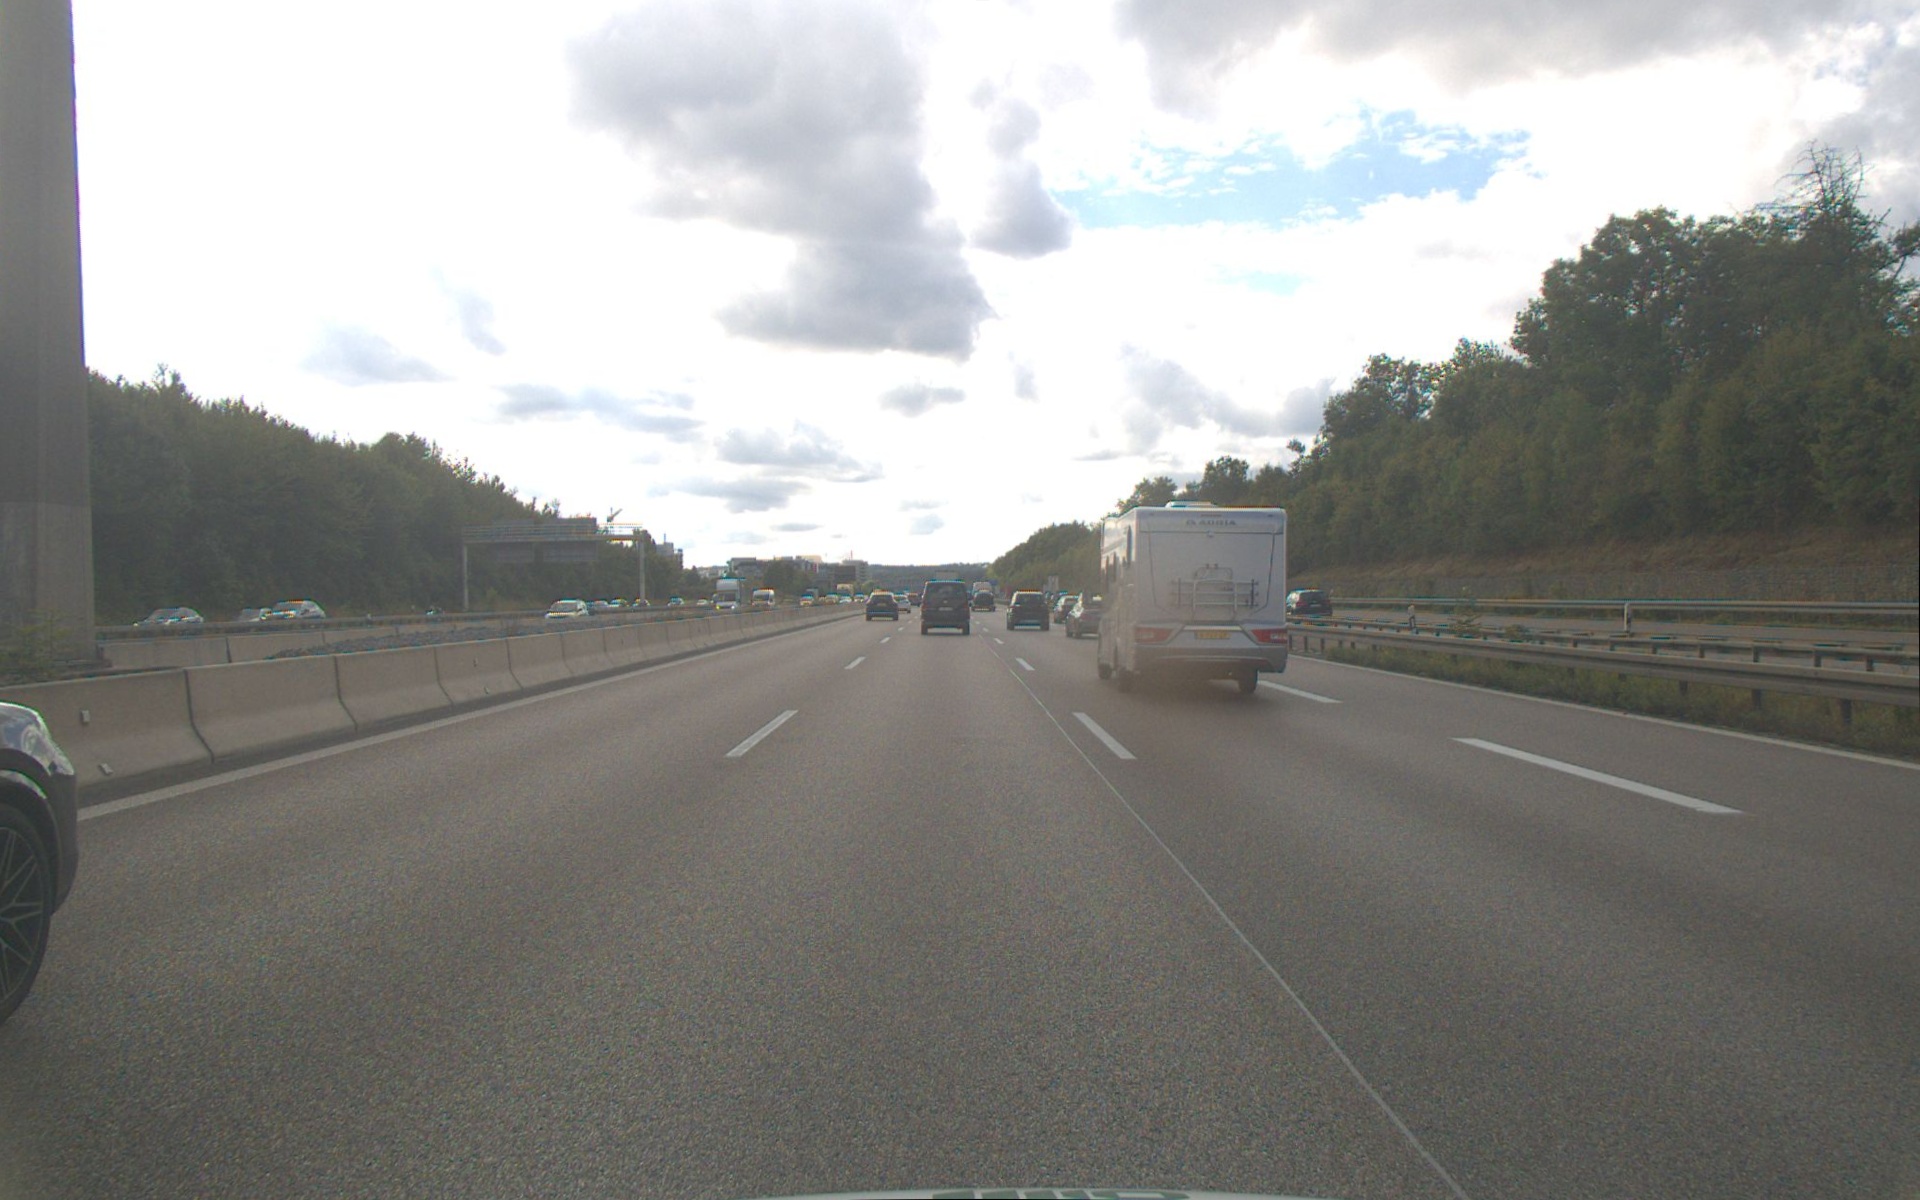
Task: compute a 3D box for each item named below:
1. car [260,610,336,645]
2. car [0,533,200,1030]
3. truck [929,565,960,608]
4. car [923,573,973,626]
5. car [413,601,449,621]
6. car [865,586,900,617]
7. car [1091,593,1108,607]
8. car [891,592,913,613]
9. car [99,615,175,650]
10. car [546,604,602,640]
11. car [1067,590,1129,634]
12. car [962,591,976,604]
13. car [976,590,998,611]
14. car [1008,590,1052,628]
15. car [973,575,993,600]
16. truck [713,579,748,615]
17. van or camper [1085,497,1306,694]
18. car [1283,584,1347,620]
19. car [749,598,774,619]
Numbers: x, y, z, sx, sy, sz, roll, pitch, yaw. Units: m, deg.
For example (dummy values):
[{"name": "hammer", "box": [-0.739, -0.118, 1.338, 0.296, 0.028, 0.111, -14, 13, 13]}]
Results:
[{"name": "car", "box": [-33.976, 1.394, 85.003, 1.953, 1.620, 4.767, -1, 0, 0]}, {"name": "car", "box": [-4.141, 0.618, 4.278, 1.873, 1.664, 5.499, 0, 0, -1]}, {"name": "truck", "box": [-1.680, -1.394, 177.946, 3.196, 4.451, 11.024, 0, 0, -1]}, {"name": "car", "box": [-0.462, -0.020, 62.921, 1.817, 1.944, 4.259, 0, 0, -1]}, {"name": "car", "box": [-41.970, 0.863, 131.213, 1.559, 1.520, 4.179, -1, 0, -2]}, {"name": "car", "box": [-4.422, 0.065, 95.068, 1.835, 1.728, 4.071, 0, 0, -1]}, {"name": "car", "box": [17.389, 0.018, 206.424, 1.716, 1.725, 4.189, 0, 0, -1]}, {"name": "car", "box": [-4.645, 0.160, 132.492, 1.663, 1.639, 4.113, 0, 0, -1]}, {"name": "car", "box": [-37.348, 1.462, 75.123, 1.472, 1.452, 4.108, -1, 0, -2]}, {"name": "car", "box": [-20.808, 1.170, 89.347, 1.797, 1.817, 5.502, -1, 0, -1]}, {"name": "car", "box": [4.878, 0.405, 58.982, 1.686, 1.505, 4.389, 0, 0, -2]}, {"name": "car", "box": [1.132, -0.317, 214.251, 1.716, 1.725, 4.189, 0, 0, -1]}, {"name": "car", "box": [2.483, 0.044, 152.581, 1.874, 1.952, 4.029, 0, 0, -1]}, {"name": "car", "box": [3.036, 0.381, 72.199, 1.663, 1.592, 4.113, 0, 0, -1]}, {"name": "car", "box": [2.179, -1.178, 159.344, 1.835, 2.399, 4.281, 0, 0, -1]}, {"name": "truck", "box": [-21.615, -0.292, 155.909, 2.305, 3.321, 7.824, -1, 0, -1]}, {"name": "van or camper", "box": [3.619, -0.074, 27.211, 2.418, 2.769, 7.660, 0, 0, -1]}, {"name": "car", "box": [16.086, 0.082, 75.131, 1.806, 1.510, 4.525, -3, 0, -1]}, {"name": "car", "box": [-22.170, 0.933, 184.733, 2.120, 2.311, 6.459, -1, 0, -1]}]
